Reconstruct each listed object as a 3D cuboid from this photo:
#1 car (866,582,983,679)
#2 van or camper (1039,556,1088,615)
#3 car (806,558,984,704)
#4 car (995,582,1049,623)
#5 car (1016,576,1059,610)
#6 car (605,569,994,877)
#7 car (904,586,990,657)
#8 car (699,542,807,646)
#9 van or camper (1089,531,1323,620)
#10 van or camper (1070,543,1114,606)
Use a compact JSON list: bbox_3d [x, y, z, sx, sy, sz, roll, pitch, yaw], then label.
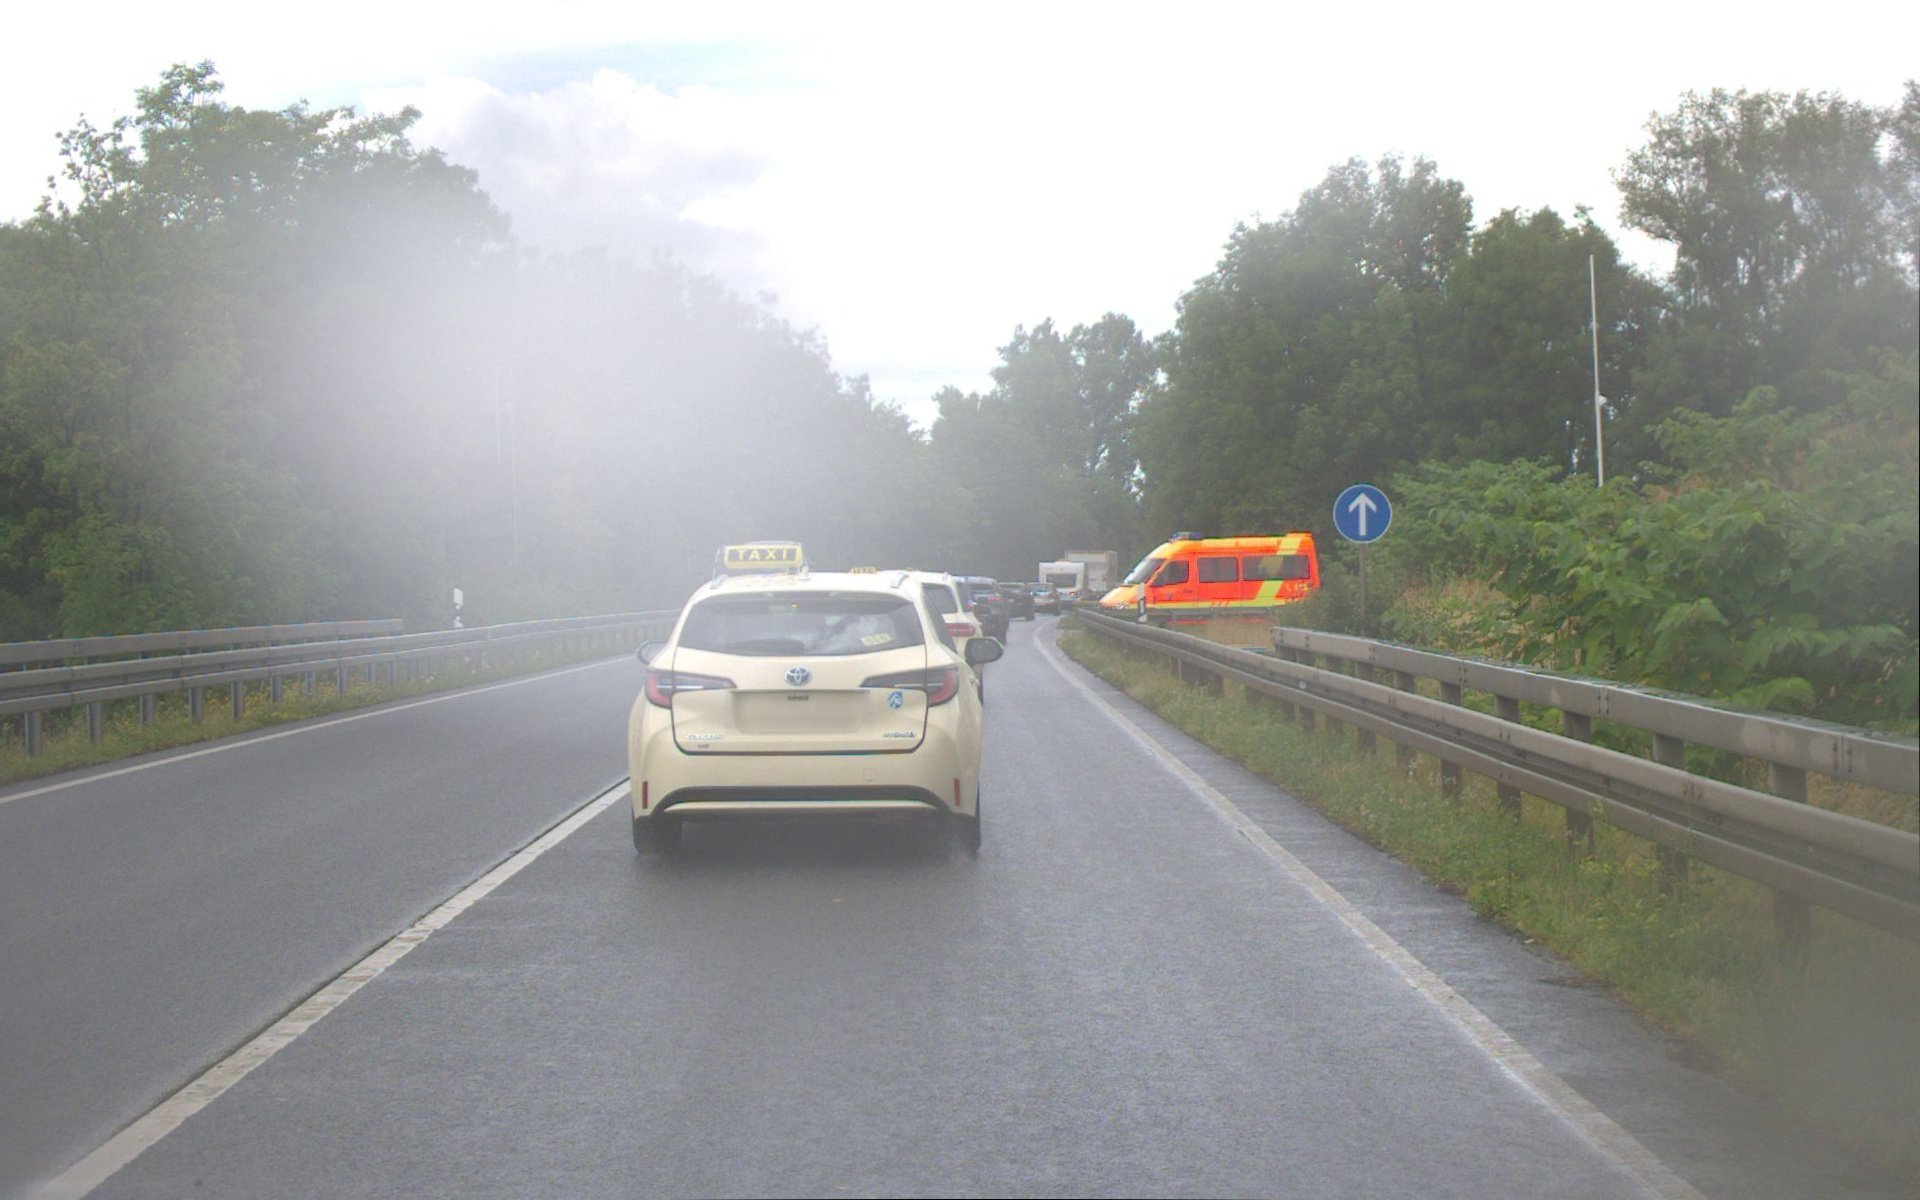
[{"bbox_3d":[-0.618,0.476,56.705,1.854,1.438,4.171,0,2,-1],"label":"car"},{"bbox_3d":[5.236,-0.764,174.759,2.332,2.854,6.307,0,1,0],"label":"van or camper"},{"bbox_3d":[-0.723,0.298,37.808,1.854,1.438,4.171,0,2,-1],"label":"car"},{"bbox_3d":[2.288,0.080,126.320,1.854,1.438,4.171,0,1,2],"label":"car"},{"bbox_3d":[3.484,-0.315,154.392,1.854,1.438,4.171,0,1,2],"label":"car"},{"bbox_3d":[-0.813,0.572,18.510,1.854,1.389,4.171,0,2,-1],"label":"car"},{"bbox_3d":[-0.320,0.466,77.024,1.854,1.438,4.171,0,2,-1],"label":"car"},{"bbox_3d":[-4.350,-0.162,72.909,1.993,2.121,4.895,0,1,0],"label":"car"},{"bbox_3d":[6.347,-0.648,88.781,5.676,2.234,2.021,0,1,-15],"label":"van or camper"},{"bbox_3d":[7.667,-1.519,200.609,2.332,3.550,6.307,0,1,0],"label":"van or camper"}]
